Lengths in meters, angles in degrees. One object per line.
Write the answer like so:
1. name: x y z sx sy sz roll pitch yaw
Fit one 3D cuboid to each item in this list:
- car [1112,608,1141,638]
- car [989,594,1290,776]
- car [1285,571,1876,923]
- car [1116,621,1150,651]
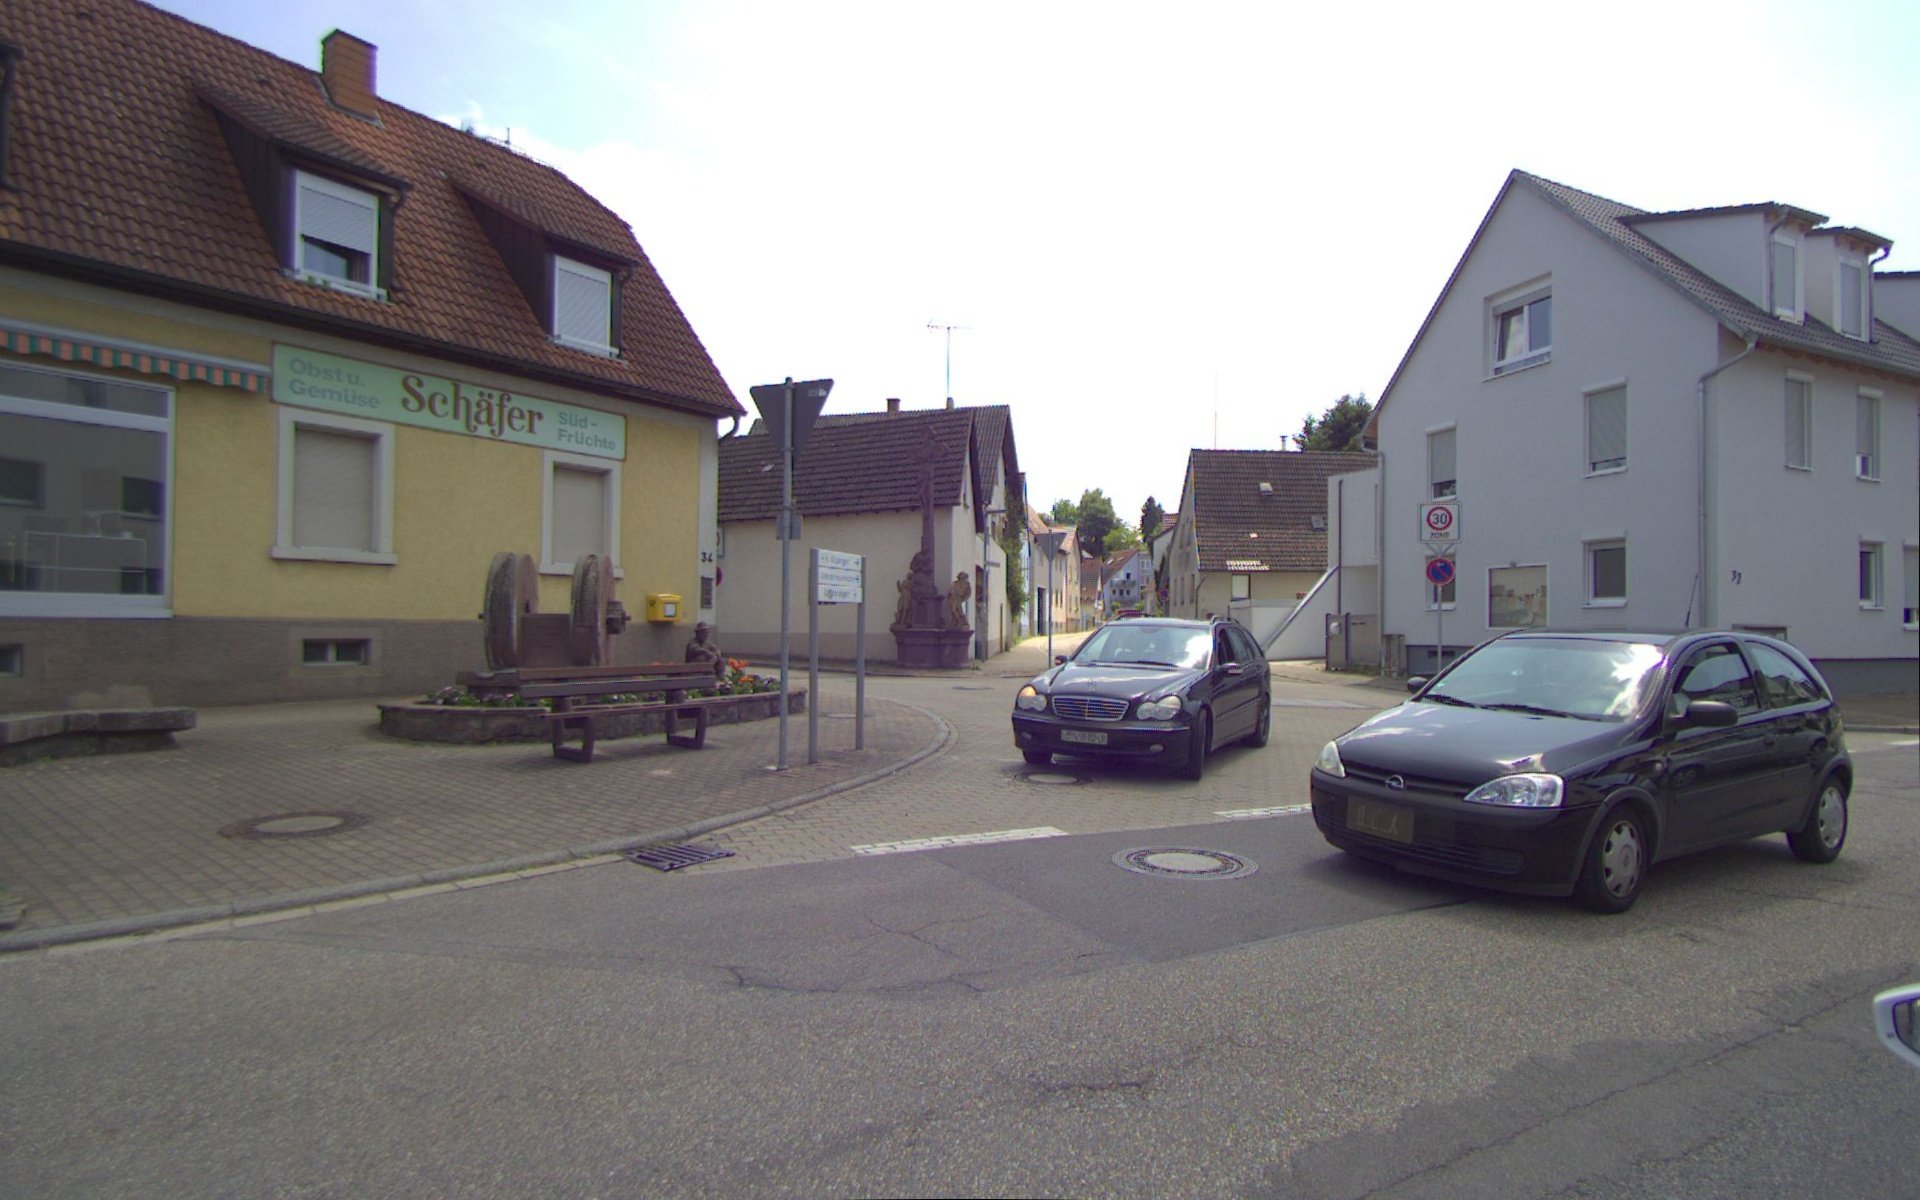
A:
1. car: 10.007 1.393 60.421 1.369 1.656 3.478 2 -2 4
2. car: 2.134 0.785 10.572 1.781 1.430 4.631 2 -2 28
3. car: 3.875 0.773 6.112 3.813 1.560 1.492 3 -3 -31
4. car: 9.387 1.963 54.796 1.461 1.550 3.478 2 -2 4
